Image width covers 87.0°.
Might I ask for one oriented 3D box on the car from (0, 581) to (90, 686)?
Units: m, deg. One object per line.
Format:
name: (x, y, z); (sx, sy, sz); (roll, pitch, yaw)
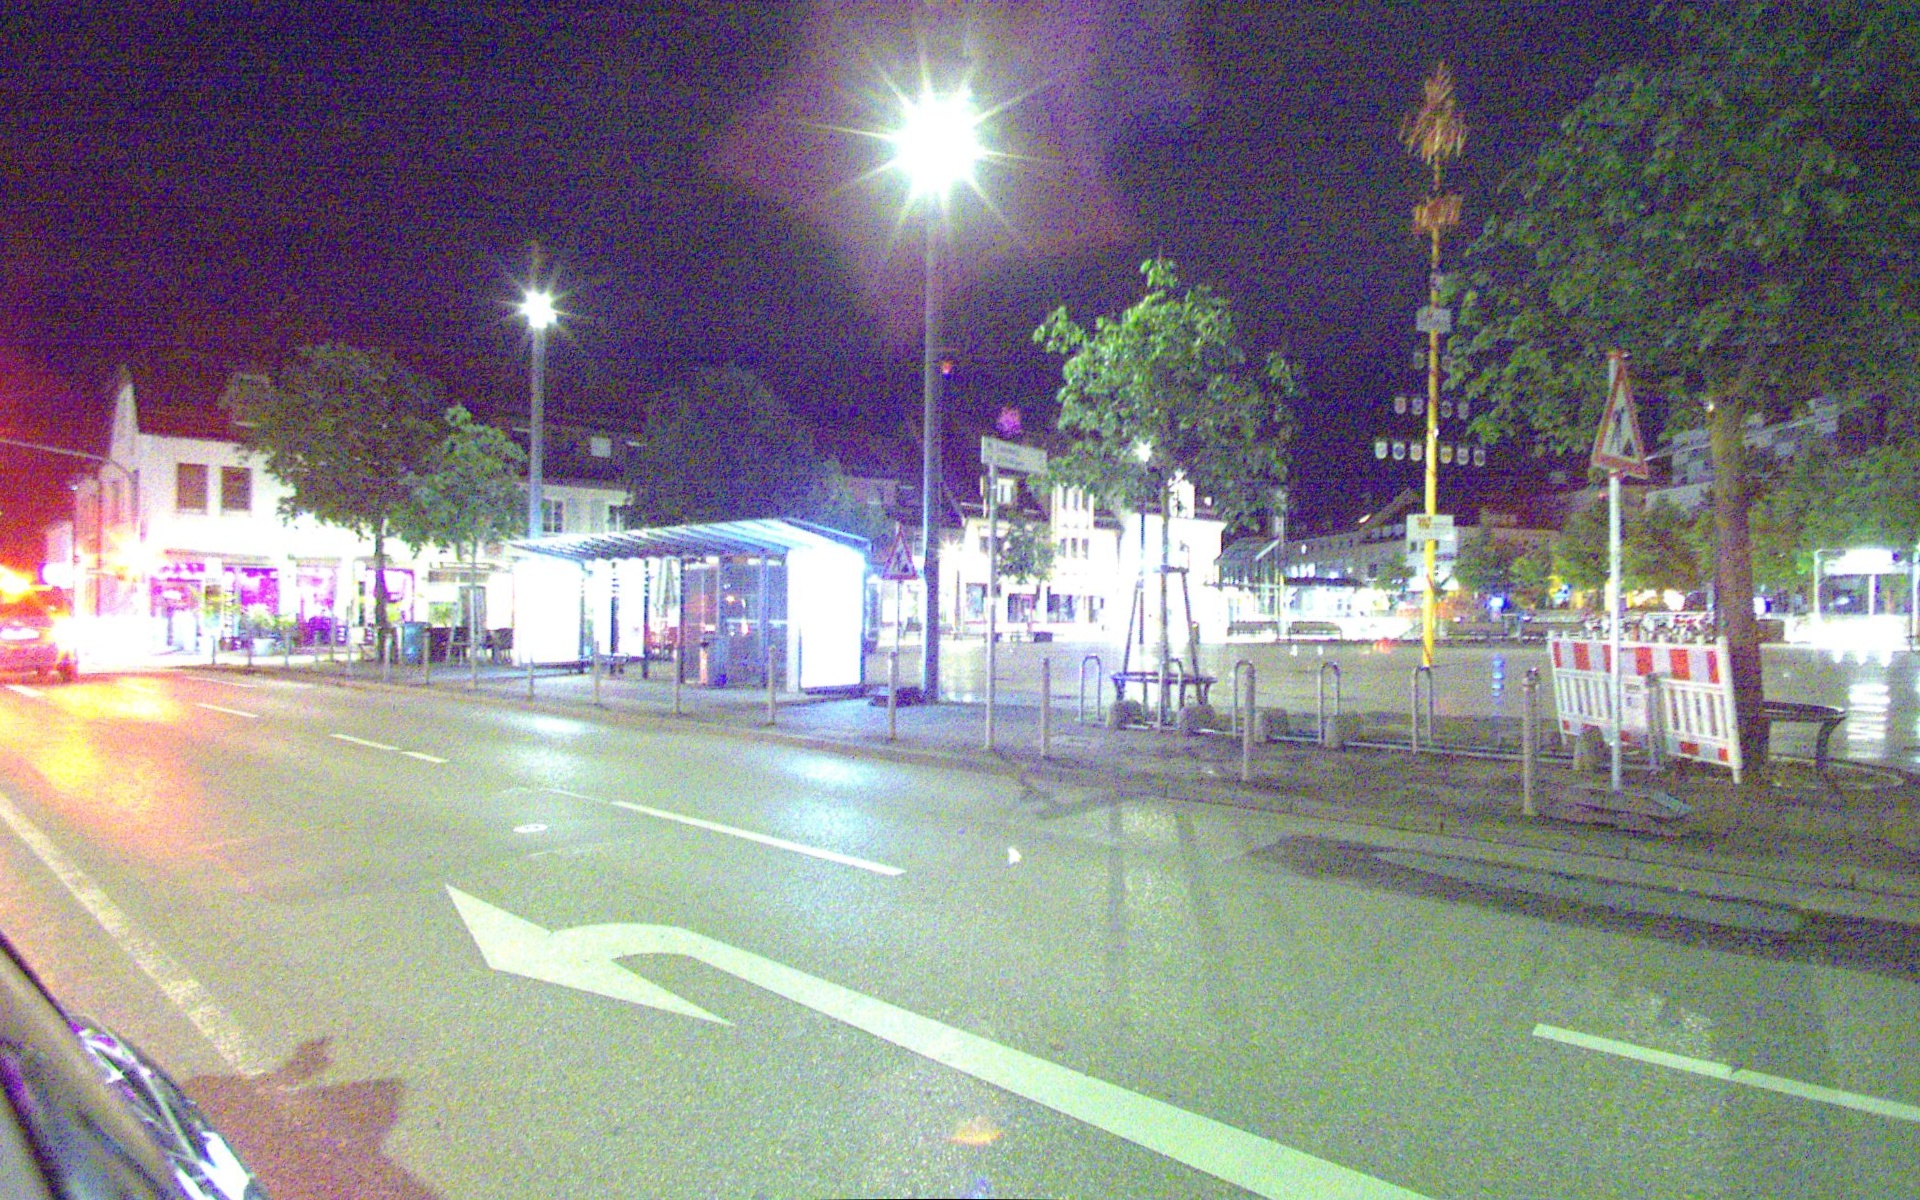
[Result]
car: (-19.070, 0.632, 20.047); (4.907, 1.886, 1.947); (-1, -1, 39)

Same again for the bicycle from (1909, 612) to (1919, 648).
bicycle: (26.401, 0.793, 26.978); (1.525, 0.965, 0.476); (-1, 0, 25)
